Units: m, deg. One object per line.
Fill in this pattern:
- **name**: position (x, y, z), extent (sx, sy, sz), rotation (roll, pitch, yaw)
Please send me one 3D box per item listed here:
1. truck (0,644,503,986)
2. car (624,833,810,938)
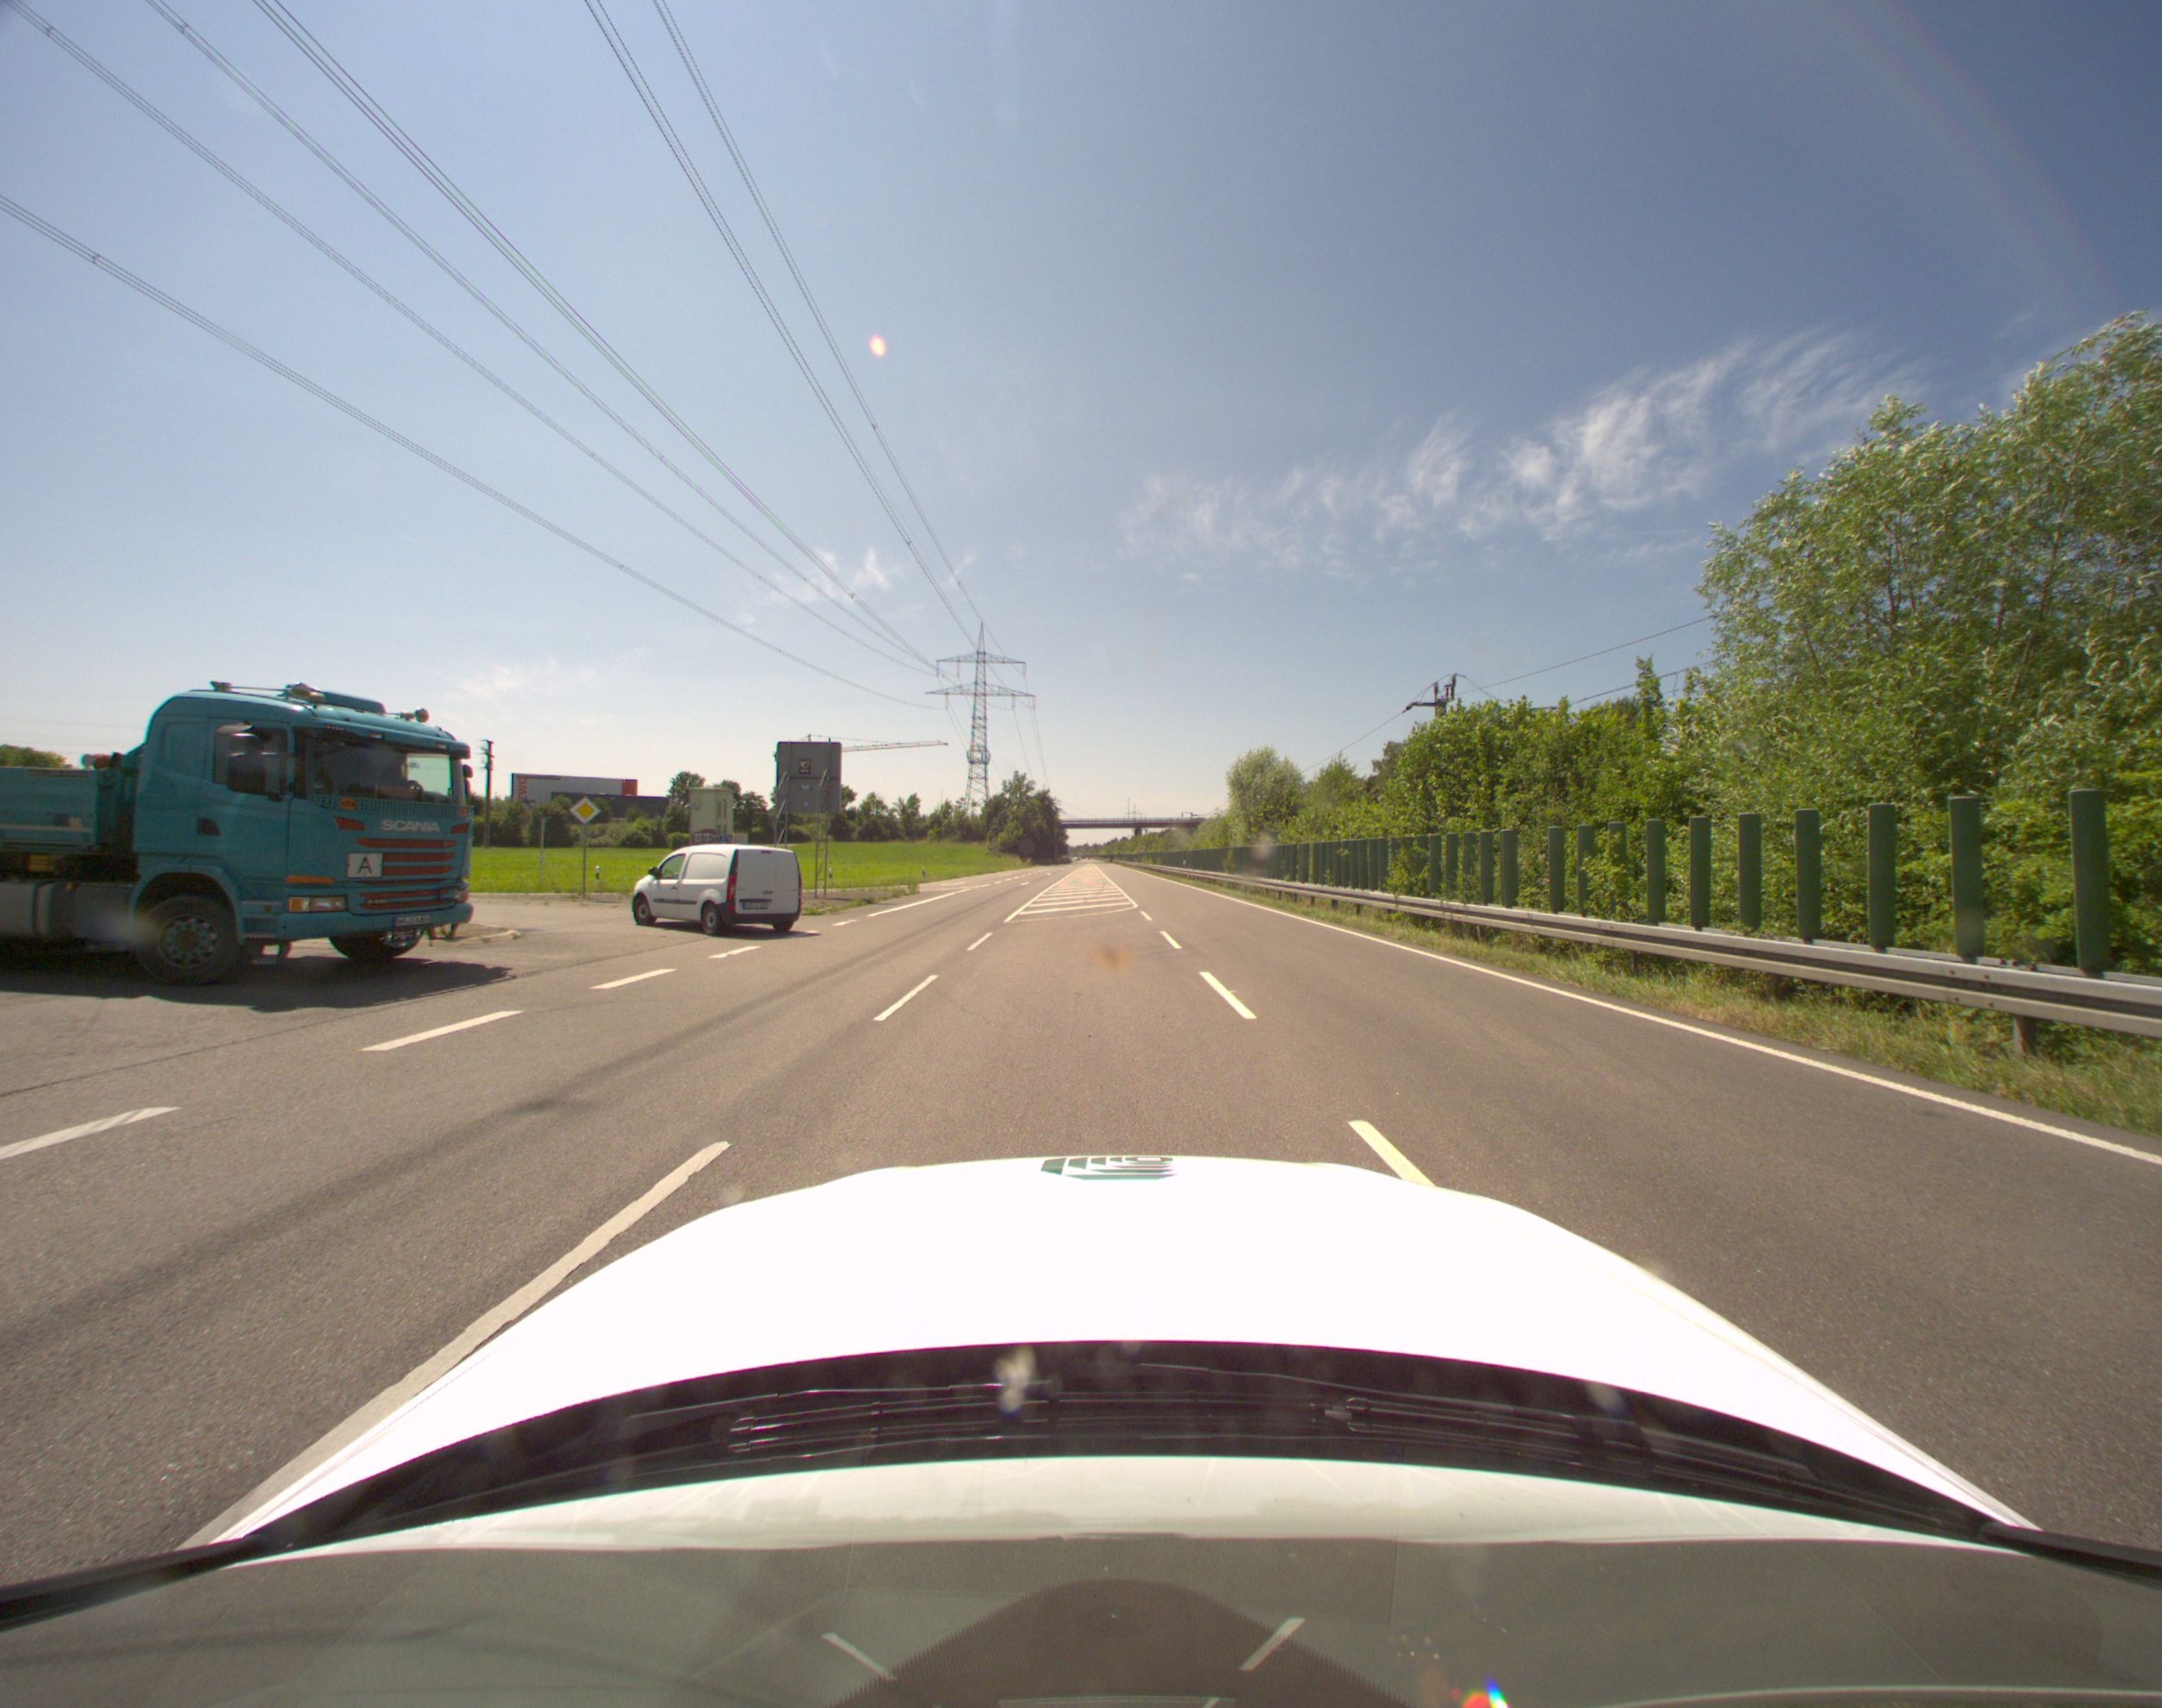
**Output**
- **truck**: position (-12.321, -0.527, 10.528), extent (7.872, 3.734, 2.500), rotation (2, 0, 2)
- **car**: position (-7.730, 0.601, 17.191), extent (3.948, 1.971, 1.844), rotation (-1, 0, 36)
